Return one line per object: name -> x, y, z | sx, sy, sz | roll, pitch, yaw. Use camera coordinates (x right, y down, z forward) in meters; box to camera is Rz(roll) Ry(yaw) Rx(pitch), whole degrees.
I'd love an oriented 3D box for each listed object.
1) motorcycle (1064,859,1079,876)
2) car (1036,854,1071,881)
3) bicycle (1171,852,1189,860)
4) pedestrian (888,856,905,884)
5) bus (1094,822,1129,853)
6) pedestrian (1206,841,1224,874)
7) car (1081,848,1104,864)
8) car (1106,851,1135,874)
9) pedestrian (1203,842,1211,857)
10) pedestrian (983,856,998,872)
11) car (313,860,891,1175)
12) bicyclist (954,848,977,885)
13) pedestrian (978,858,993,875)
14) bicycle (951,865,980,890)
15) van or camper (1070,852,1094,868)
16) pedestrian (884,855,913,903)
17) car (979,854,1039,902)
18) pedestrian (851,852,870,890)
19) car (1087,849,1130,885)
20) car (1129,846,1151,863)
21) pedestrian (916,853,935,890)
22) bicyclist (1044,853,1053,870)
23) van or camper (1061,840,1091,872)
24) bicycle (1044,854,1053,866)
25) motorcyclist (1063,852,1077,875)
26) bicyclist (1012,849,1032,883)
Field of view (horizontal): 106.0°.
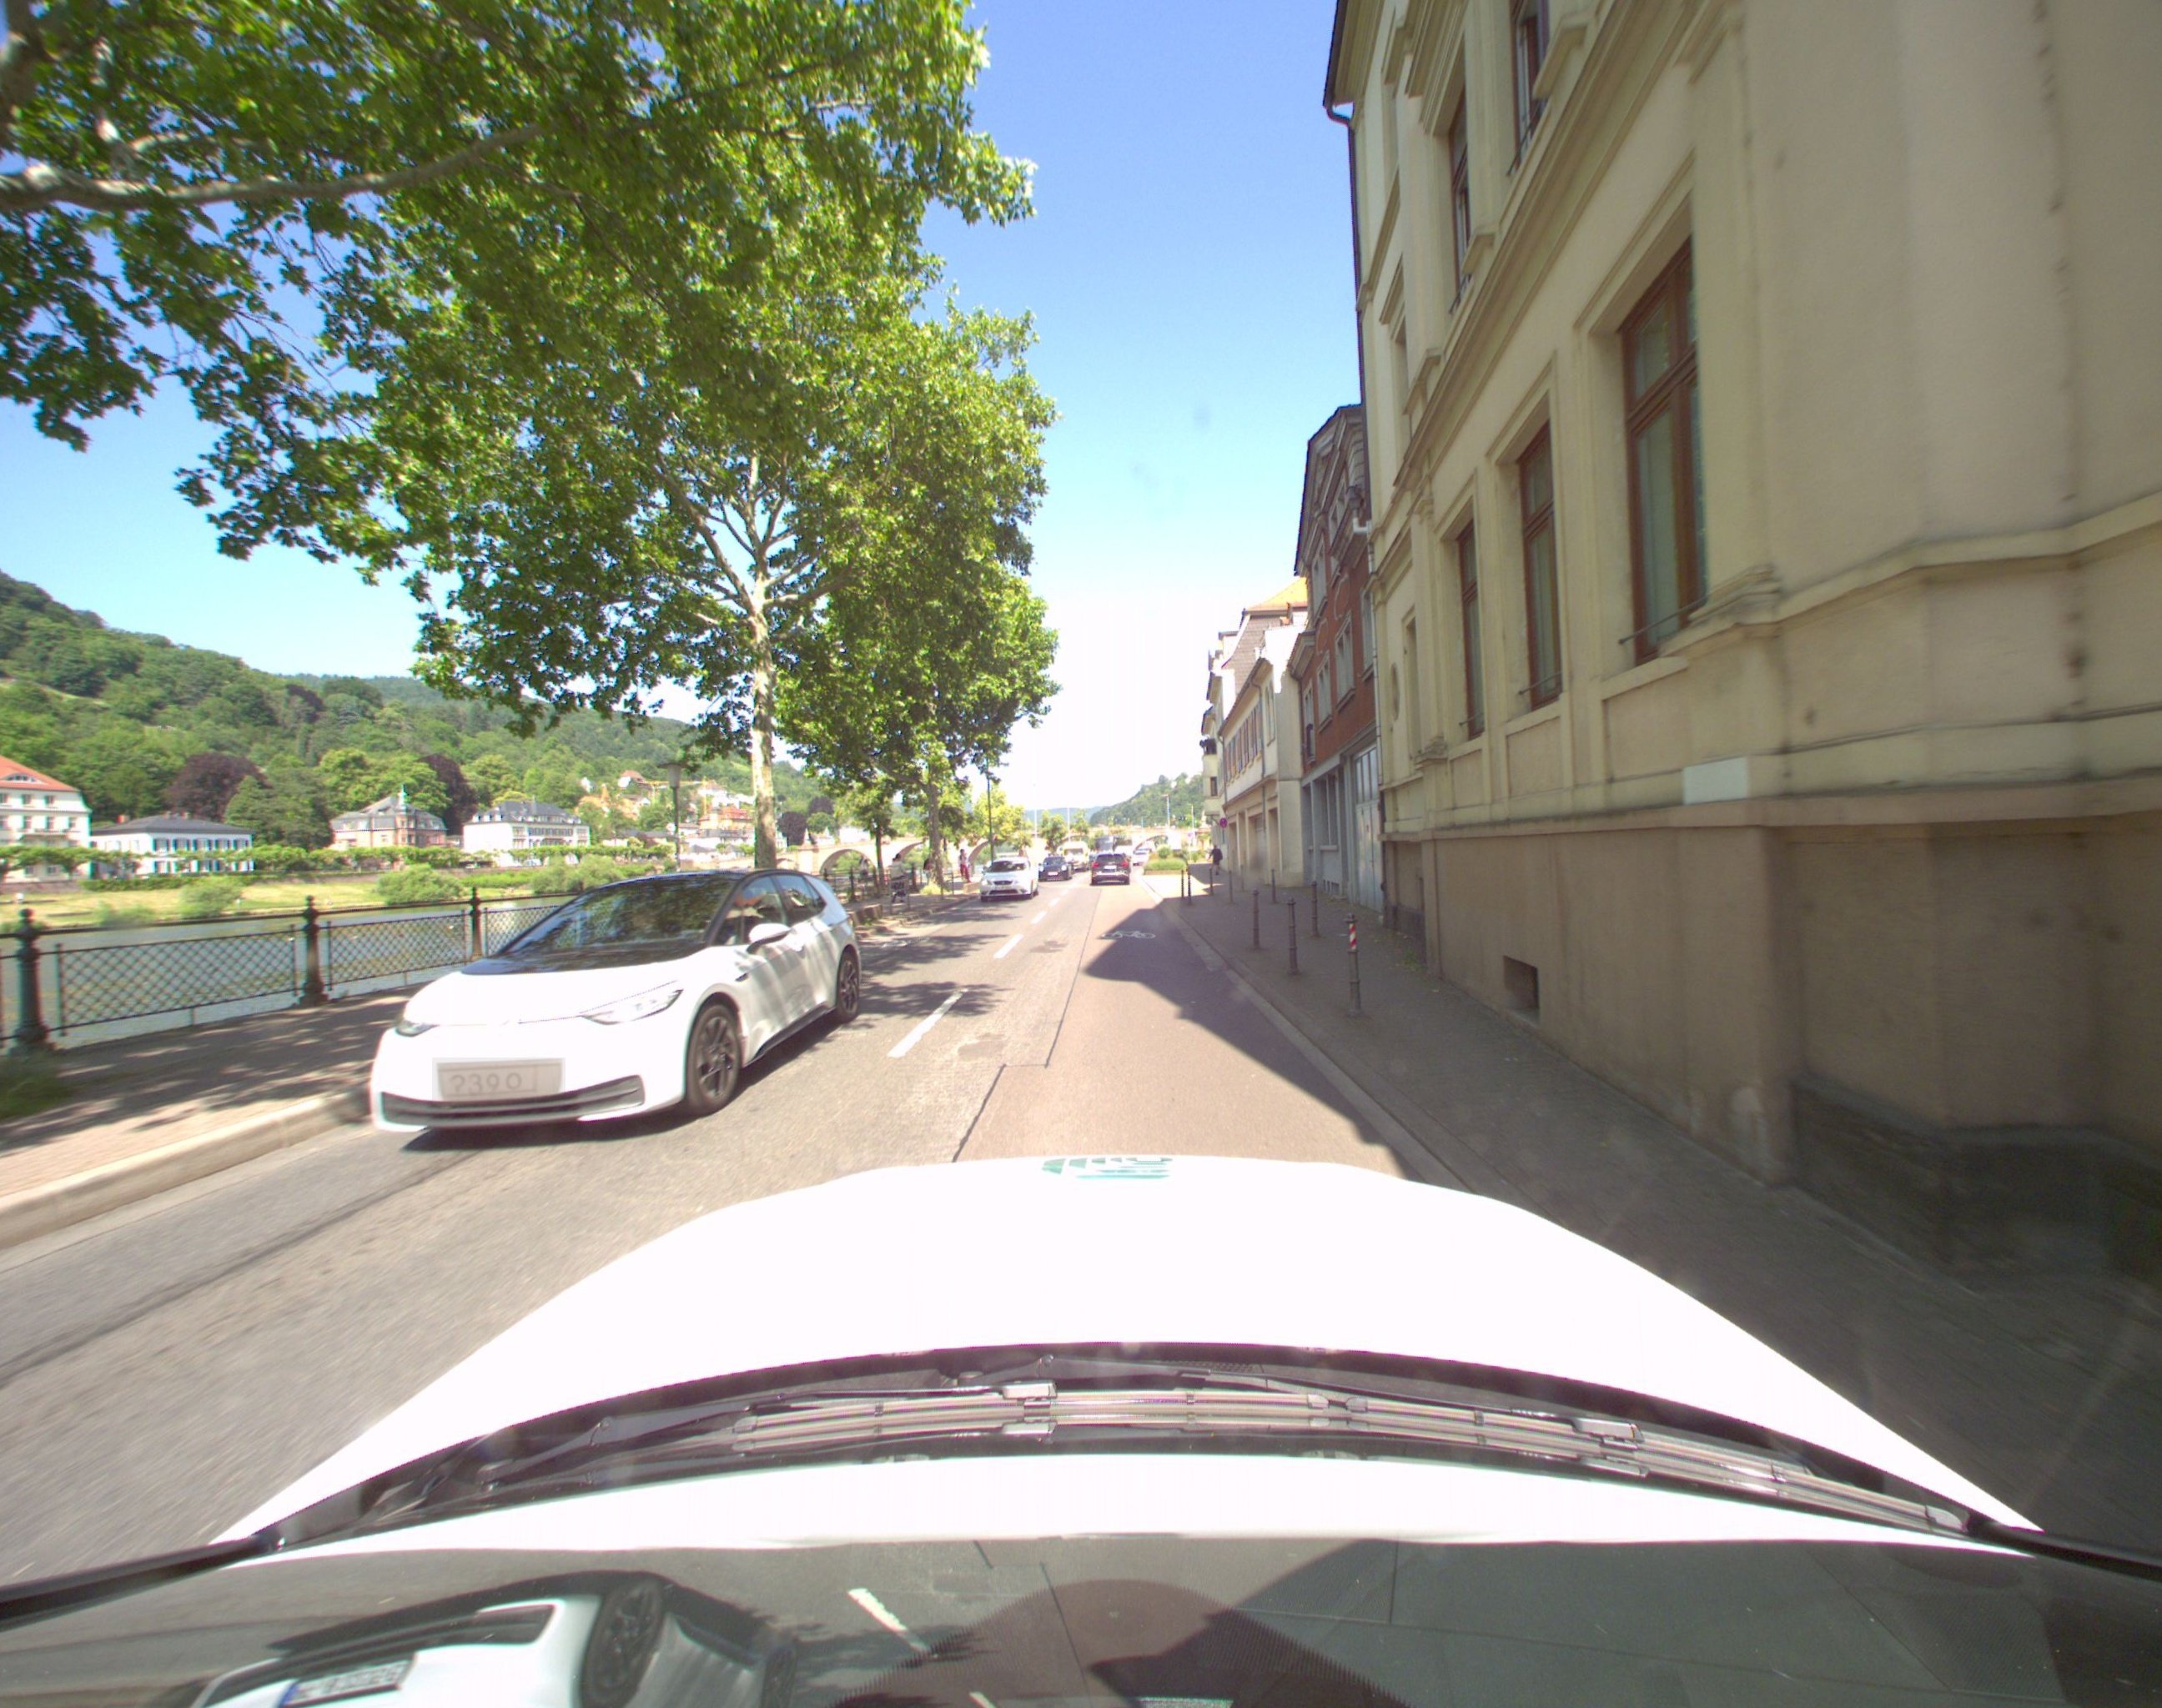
motorcycle -> -0.654, 0.908, 55.957 | 0.881, 1.077, 2.326 | -3, 0, -2
car -> -1.592, 0.768, 47.708 | 1.694, 1.458, 4.004 | -3, 0, 2
bicycle -> 10.299, 0.209, 84.951 | 1.801, 0.878, 0.503 | -1, 1, 5
pedestrian -> -10.992, 0.948, 48.524 | 0.689, 1.616, 0.665 | -3, 0, 9
bus -> 3.967, -1.972, 103.388 | 2.615, 3.564, 13.018 | -3, -1, 10
pedestrian -> 7.275, 0.188, 44.212 | 0.758, 1.713, 0.697 | -6, -1, 4
car -> 1.205, 0.224, 85.253 | 1.804, 1.428, 4.319 | -4, 1, 7
car -> 2.851, 0.579, 58.035 | 1.918, 1.461, 4.837 | -3, 0, 4
pedestrian -> 13.678, -0.459, 88.303 | 0.757, 1.595, 0.698 | -2, 0, 9
pedestrian -> -7.360, 0.828, 66.086 | 0.931, 1.281, 0.852 | -3, 0, 10
car -> -3.039, 0.879, 6.476 | 1.728, 1.518, 4.408 | -4, 0, 3
bicyclist -> -5.059, 0.535, 35.667 | 0.716, 1.583, 1.090 | -3, 0, 3
pedestrian -> -7.610, 0.991, 65.200 | 0.931, 1.281, 0.852 | -3, 0, 10
bicycle -> -5.047, 1.013, 35.583 | 0.751, 0.979, 1.956 | -3, 1, 6
van or camper -> 0.123, 0.562, 78.306 | 1.985, 1.454, 4.688 | -3, 0, 4
pedestrian -> -6.207, 0.828, 27.679 | 0.759, 1.586, 0.696 | -3, 0, 1
car -> -2.503, 0.799, 29.034 | 1.695, 1.445, 4.092 | -2, 1, 0
pedestrian -> -11.645, 0.894, 43.023 | 0.691, 1.945, 0.887 | -3, 0, 1
car -> 1.331, 0.599, 38.847 | 1.919, 1.553, 4.834 | -1, -1, 2
car -> 6.043, 0.045, 83.337 | 1.917, 1.553, 4.841 | -4, 0, 6
pedestrian -> -7.238, 0.810, 38.001 | 0.653, 1.682, 0.760 | 0, 0, 7
bicyclist -> -3.236, 0.724, 81.702 | 0.737, 1.667, 1.090 | -3, 1, 3
van or camper -> -0.374, 0.194, 70.387 | 2.079, 2.557, 7.097 | -2, 0, 3
bicycle -> -3.248, 0.587, 81.601 | 0.708, 1.168, 1.898 | -2, 1, 4
motorcyclist -> -0.742, 0.646, 56.005 | 0.875, 1.583, 1.025 | -3, 0, 0
bicyclist -> -2.739, 0.561, 38.111 | 0.763, 1.531, 1.026 | -1, 2, 3
